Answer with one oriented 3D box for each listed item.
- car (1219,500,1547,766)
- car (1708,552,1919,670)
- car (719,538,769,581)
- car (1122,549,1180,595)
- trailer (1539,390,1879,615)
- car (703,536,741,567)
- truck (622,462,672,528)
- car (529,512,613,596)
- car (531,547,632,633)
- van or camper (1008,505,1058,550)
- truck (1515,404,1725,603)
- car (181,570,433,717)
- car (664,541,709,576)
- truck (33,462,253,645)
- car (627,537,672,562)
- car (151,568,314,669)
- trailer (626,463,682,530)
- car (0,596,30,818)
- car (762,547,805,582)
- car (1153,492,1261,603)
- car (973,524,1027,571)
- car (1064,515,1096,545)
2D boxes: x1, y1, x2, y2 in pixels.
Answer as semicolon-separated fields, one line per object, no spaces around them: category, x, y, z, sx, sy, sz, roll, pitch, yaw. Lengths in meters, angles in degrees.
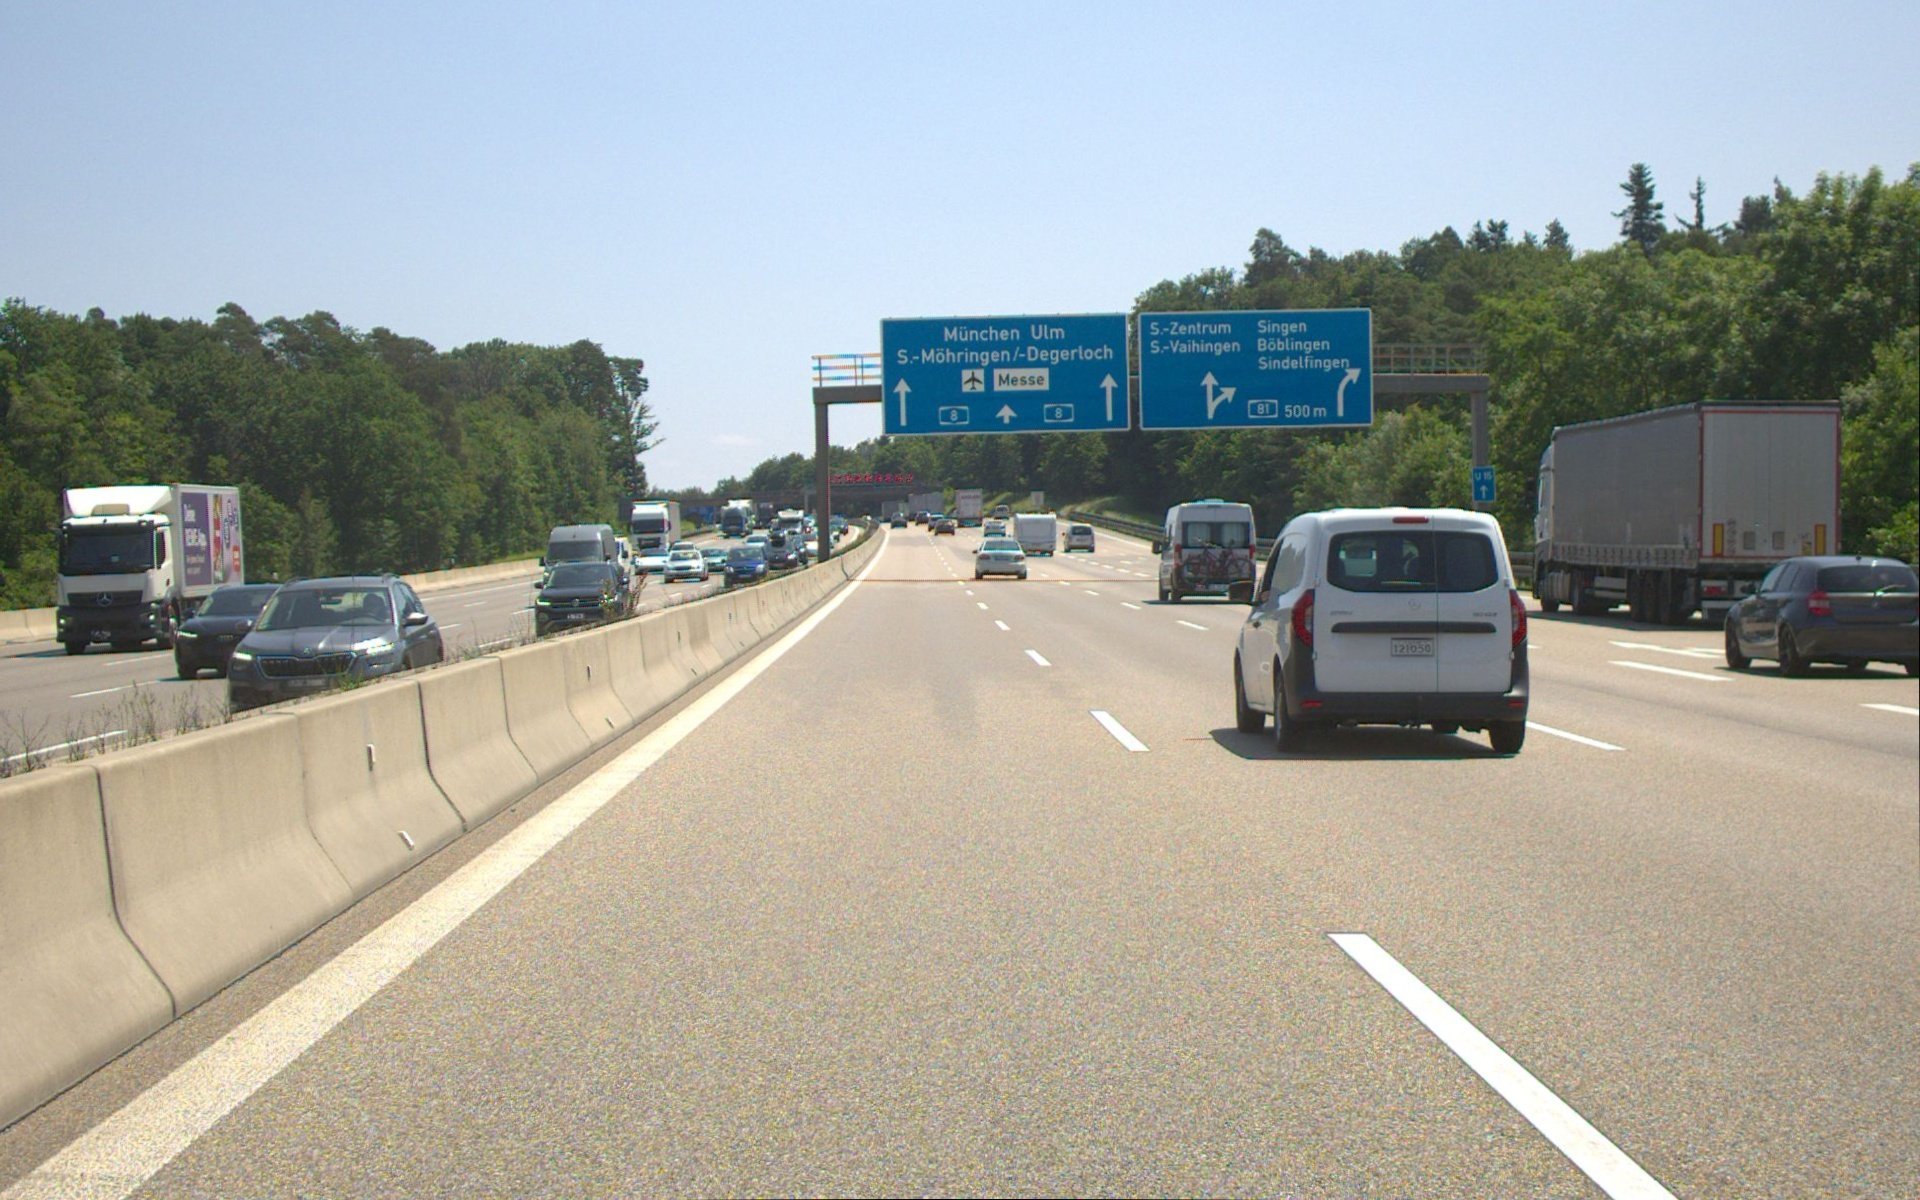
car;3.159;0.208;26.556;1.859;1.819;4.612;-2;1;-1
car;10.260;0.155;40.959;1.670;1.269;4.290;-2;-1;-1
car;-8.463;-1.602;134.946;1.705;1.656;3.760;-1;1;-1
car;7.037;-1.049;127.036;1.818;1.634;4.000;-2;1;-1
trailer;14.296;-1.881;67.209;3.287;3.917;13.892;0;1;-1
car;-12.107;-2.476;175.011;1.678;1.439;3.994;-3;1;-1
truck;-21.175;-7.071;232.790;2.760;4.205;6.378;-2;0;-1
car;-12.787;-1.553;113.397;1.930;2.598;7.231;-2;1;-1
car;-7.734;-0.230;70.540;1.614;1.656;3.849;-2;1;0
van or camper;4.276;-4.222;202.409;2.645;2.530;6.502;-2;1;-1
truck;14.120;-2.064;73.982;3.254;4.092;5.988;0;1;-1
car;-6.564;0.396;34.992;1.752;1.372;4.491;0;1;-1
car;-12.316;-1.890;154.932;1.678;1.439;4.526;-3;1;-1
truck;-19.062;-1.071;80.870;2.719;3.926;10.236;-2;0;-1
car;-16.734;-2.736;185.482;1.993;1.302;4.845;-2;1;0
car;-11.921;0.266;56.599;1.717;1.444;4.909;-2;1;-1
trailer;-21.285;-7.165;239.687;2.754;4.231;13.720;-2;0;-1
car;-7.452;0.796;22.179;1.717;1.507;4.351;-2;1;-1
car;-8.815;-1.774;172.110;1.870;1.600;5.228;-2;1;0
car;6.170;-1.327;86.493;2.143;2.643;5.710;-2;1;-1
car;1.443;-1.923;127.075;1.843;1.623;4.553;-2;0;-1
car;7.591;-4.465;218.145;1.820;1.853;4.000;-1;1;-1
